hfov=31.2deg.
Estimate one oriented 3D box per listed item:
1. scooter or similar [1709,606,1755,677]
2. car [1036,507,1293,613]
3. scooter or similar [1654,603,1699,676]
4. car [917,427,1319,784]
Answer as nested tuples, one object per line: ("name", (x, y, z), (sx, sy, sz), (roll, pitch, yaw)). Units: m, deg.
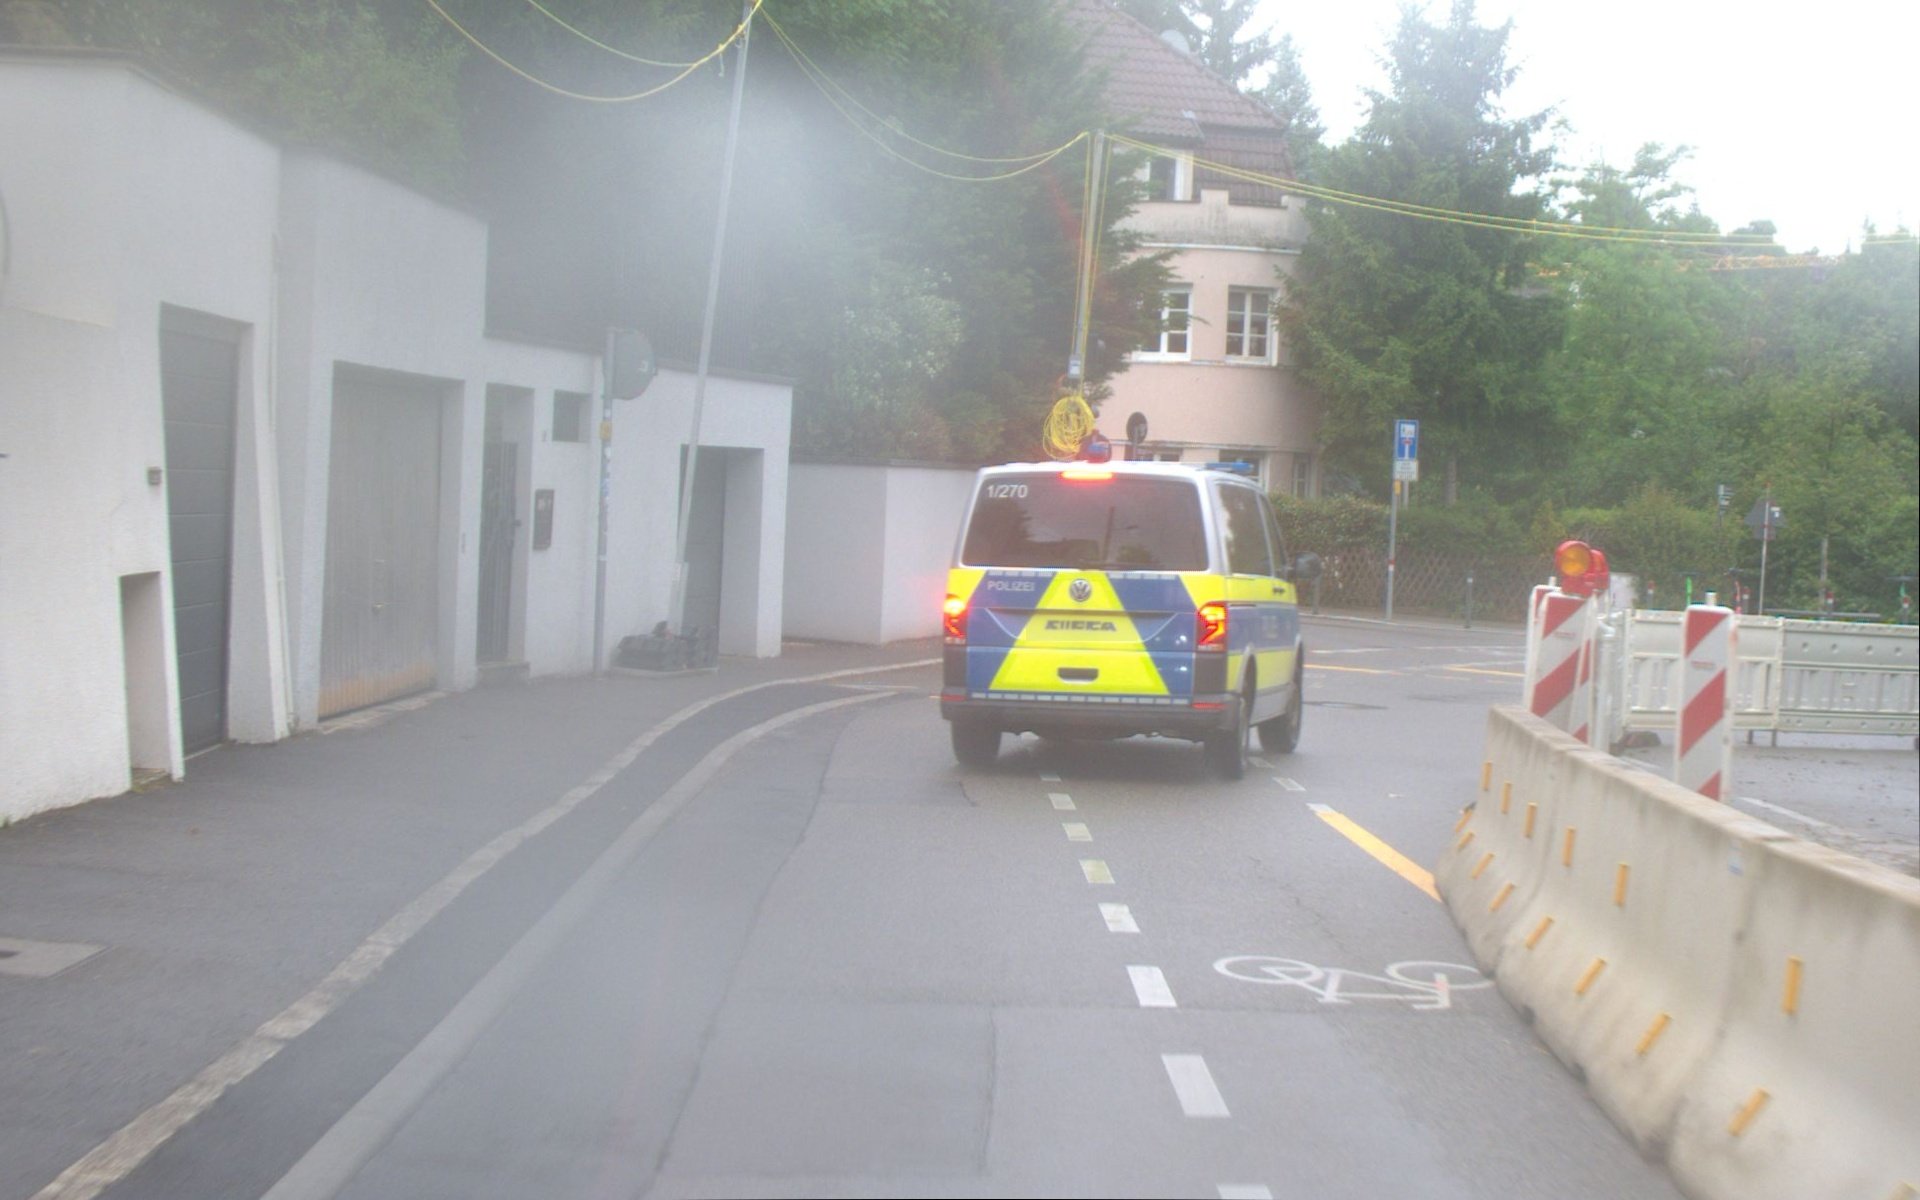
("scooter or similar", (12.935, 0.686, 57.636), (0.464, 1.140, 0.995), (4, 0, 0))
("car", (3.534, -0.696, 59.482), (3.994, 1.512, 1.725), (5, 0, 30))
("scooter or similar", (12.087, 0.663, 58.027), (0.464, 1.182, 1.025), (4, 0, 1))
("car", (1.165, 0.044, 22.831), (1.909, 2.003, 4.437), (4, 0, 11))
